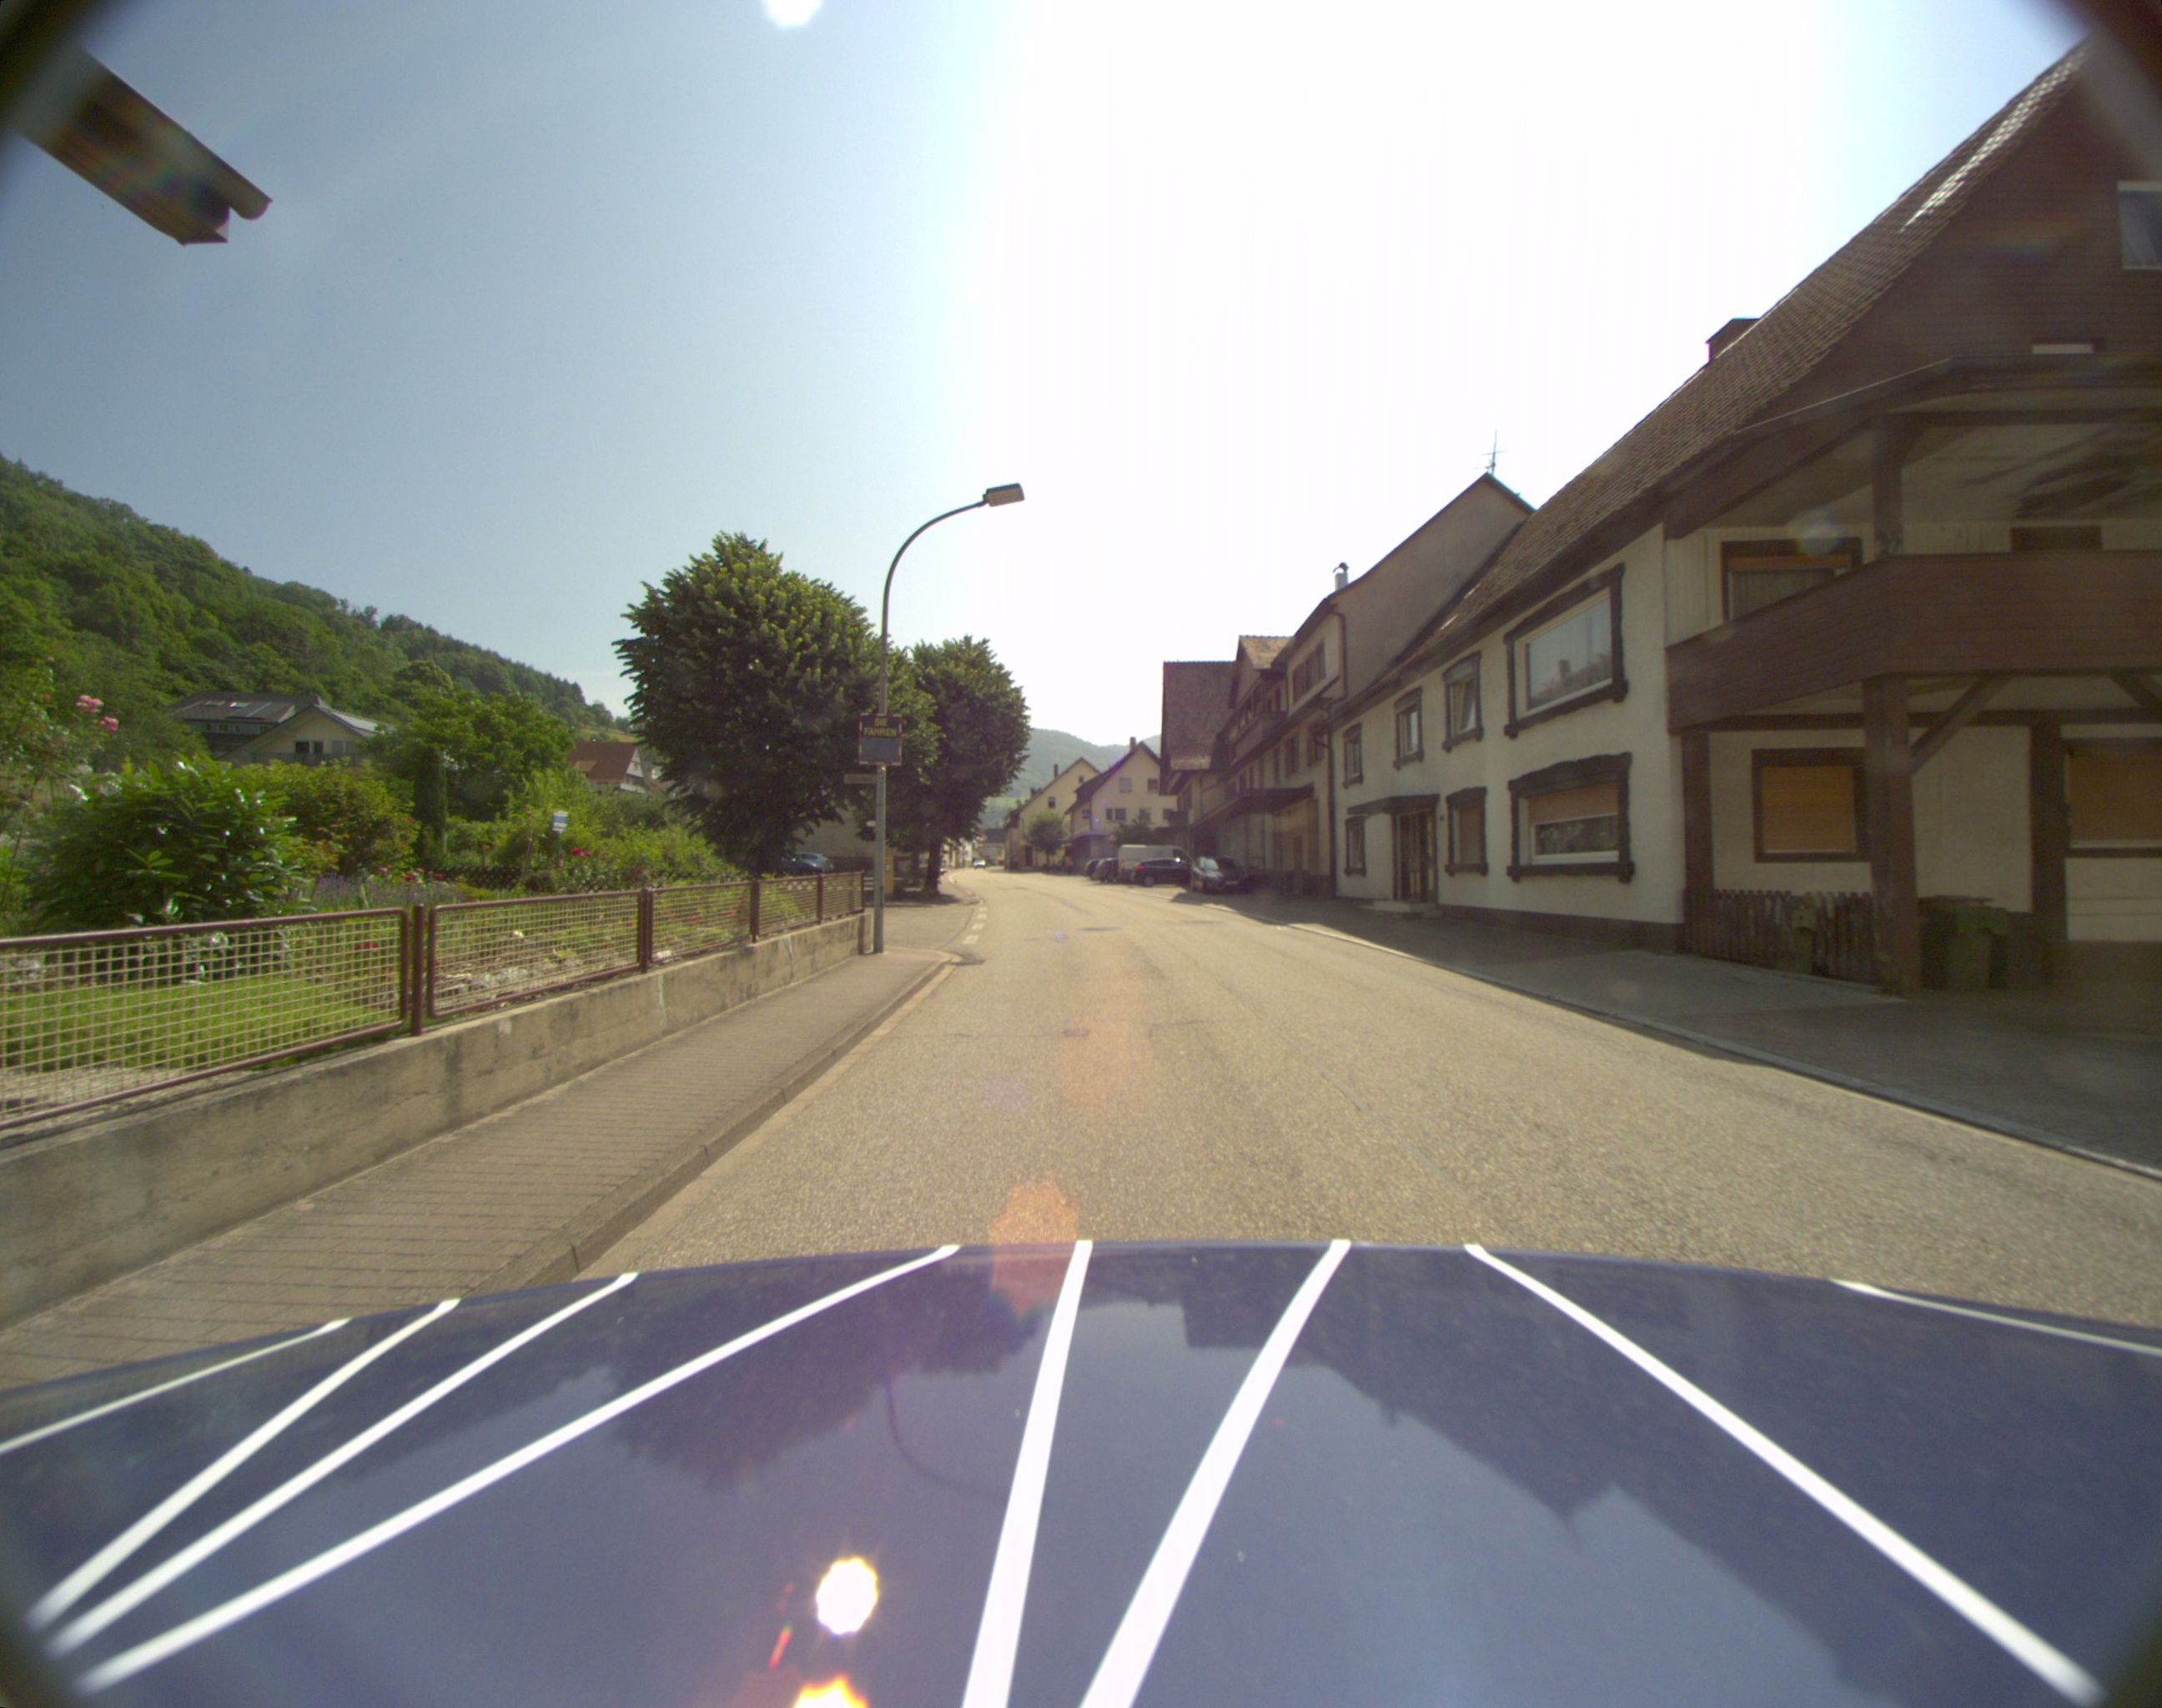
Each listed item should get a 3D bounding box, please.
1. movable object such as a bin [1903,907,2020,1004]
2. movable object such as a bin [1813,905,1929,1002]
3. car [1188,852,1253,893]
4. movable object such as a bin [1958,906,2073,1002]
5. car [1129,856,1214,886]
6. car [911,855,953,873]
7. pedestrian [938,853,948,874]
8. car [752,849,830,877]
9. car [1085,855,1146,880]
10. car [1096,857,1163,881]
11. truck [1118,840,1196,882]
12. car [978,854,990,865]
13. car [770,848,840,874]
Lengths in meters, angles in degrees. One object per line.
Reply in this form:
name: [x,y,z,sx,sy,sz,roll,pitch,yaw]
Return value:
movable object such as a bin: [10.298,1.169,8.910,0.608,1.045,0.632,1,1,1]
movable object such as a bin: [9.292,1.153,8.966,0.623,1.045,0.696,1,1,1]
car: [5.731,0.743,31.748,1.774,1.544,4.285,-2,0,-2]
movable object such as a bin: [11.003,1.166,8.965,0.600,1.045,0.600,1,1,1]
car: [4.607,0.846,39.023,4.105,1.494,1.753,0,0,-1]
car: [-13.608,0.913,69.539,3.340,1.587,1.652,1,0,13]
pedestrian: [-11.170,0.779,61.617,0.682,1.661,0.712,1,0,1]
car: [-16.149,0.521,42.509,3.847,1.398,1.564,2,0,-14]
car: [2.331,0.896,51.069,3.996,1.563,1.577,1,0,3]
car: [3.021,0.931,47.993,3.998,1.444,1.627,1,0,-3]
truck: [4.339,0.376,44.036,4.178,2.253,1.999,-1,0,-4]
car: [-17.943,0.953,140.303,1.999,2.002,3.998,-2,0,-5]
car: [-17.288,0.424,47.706,3.951,1.462,1.653,2,0,-15]
